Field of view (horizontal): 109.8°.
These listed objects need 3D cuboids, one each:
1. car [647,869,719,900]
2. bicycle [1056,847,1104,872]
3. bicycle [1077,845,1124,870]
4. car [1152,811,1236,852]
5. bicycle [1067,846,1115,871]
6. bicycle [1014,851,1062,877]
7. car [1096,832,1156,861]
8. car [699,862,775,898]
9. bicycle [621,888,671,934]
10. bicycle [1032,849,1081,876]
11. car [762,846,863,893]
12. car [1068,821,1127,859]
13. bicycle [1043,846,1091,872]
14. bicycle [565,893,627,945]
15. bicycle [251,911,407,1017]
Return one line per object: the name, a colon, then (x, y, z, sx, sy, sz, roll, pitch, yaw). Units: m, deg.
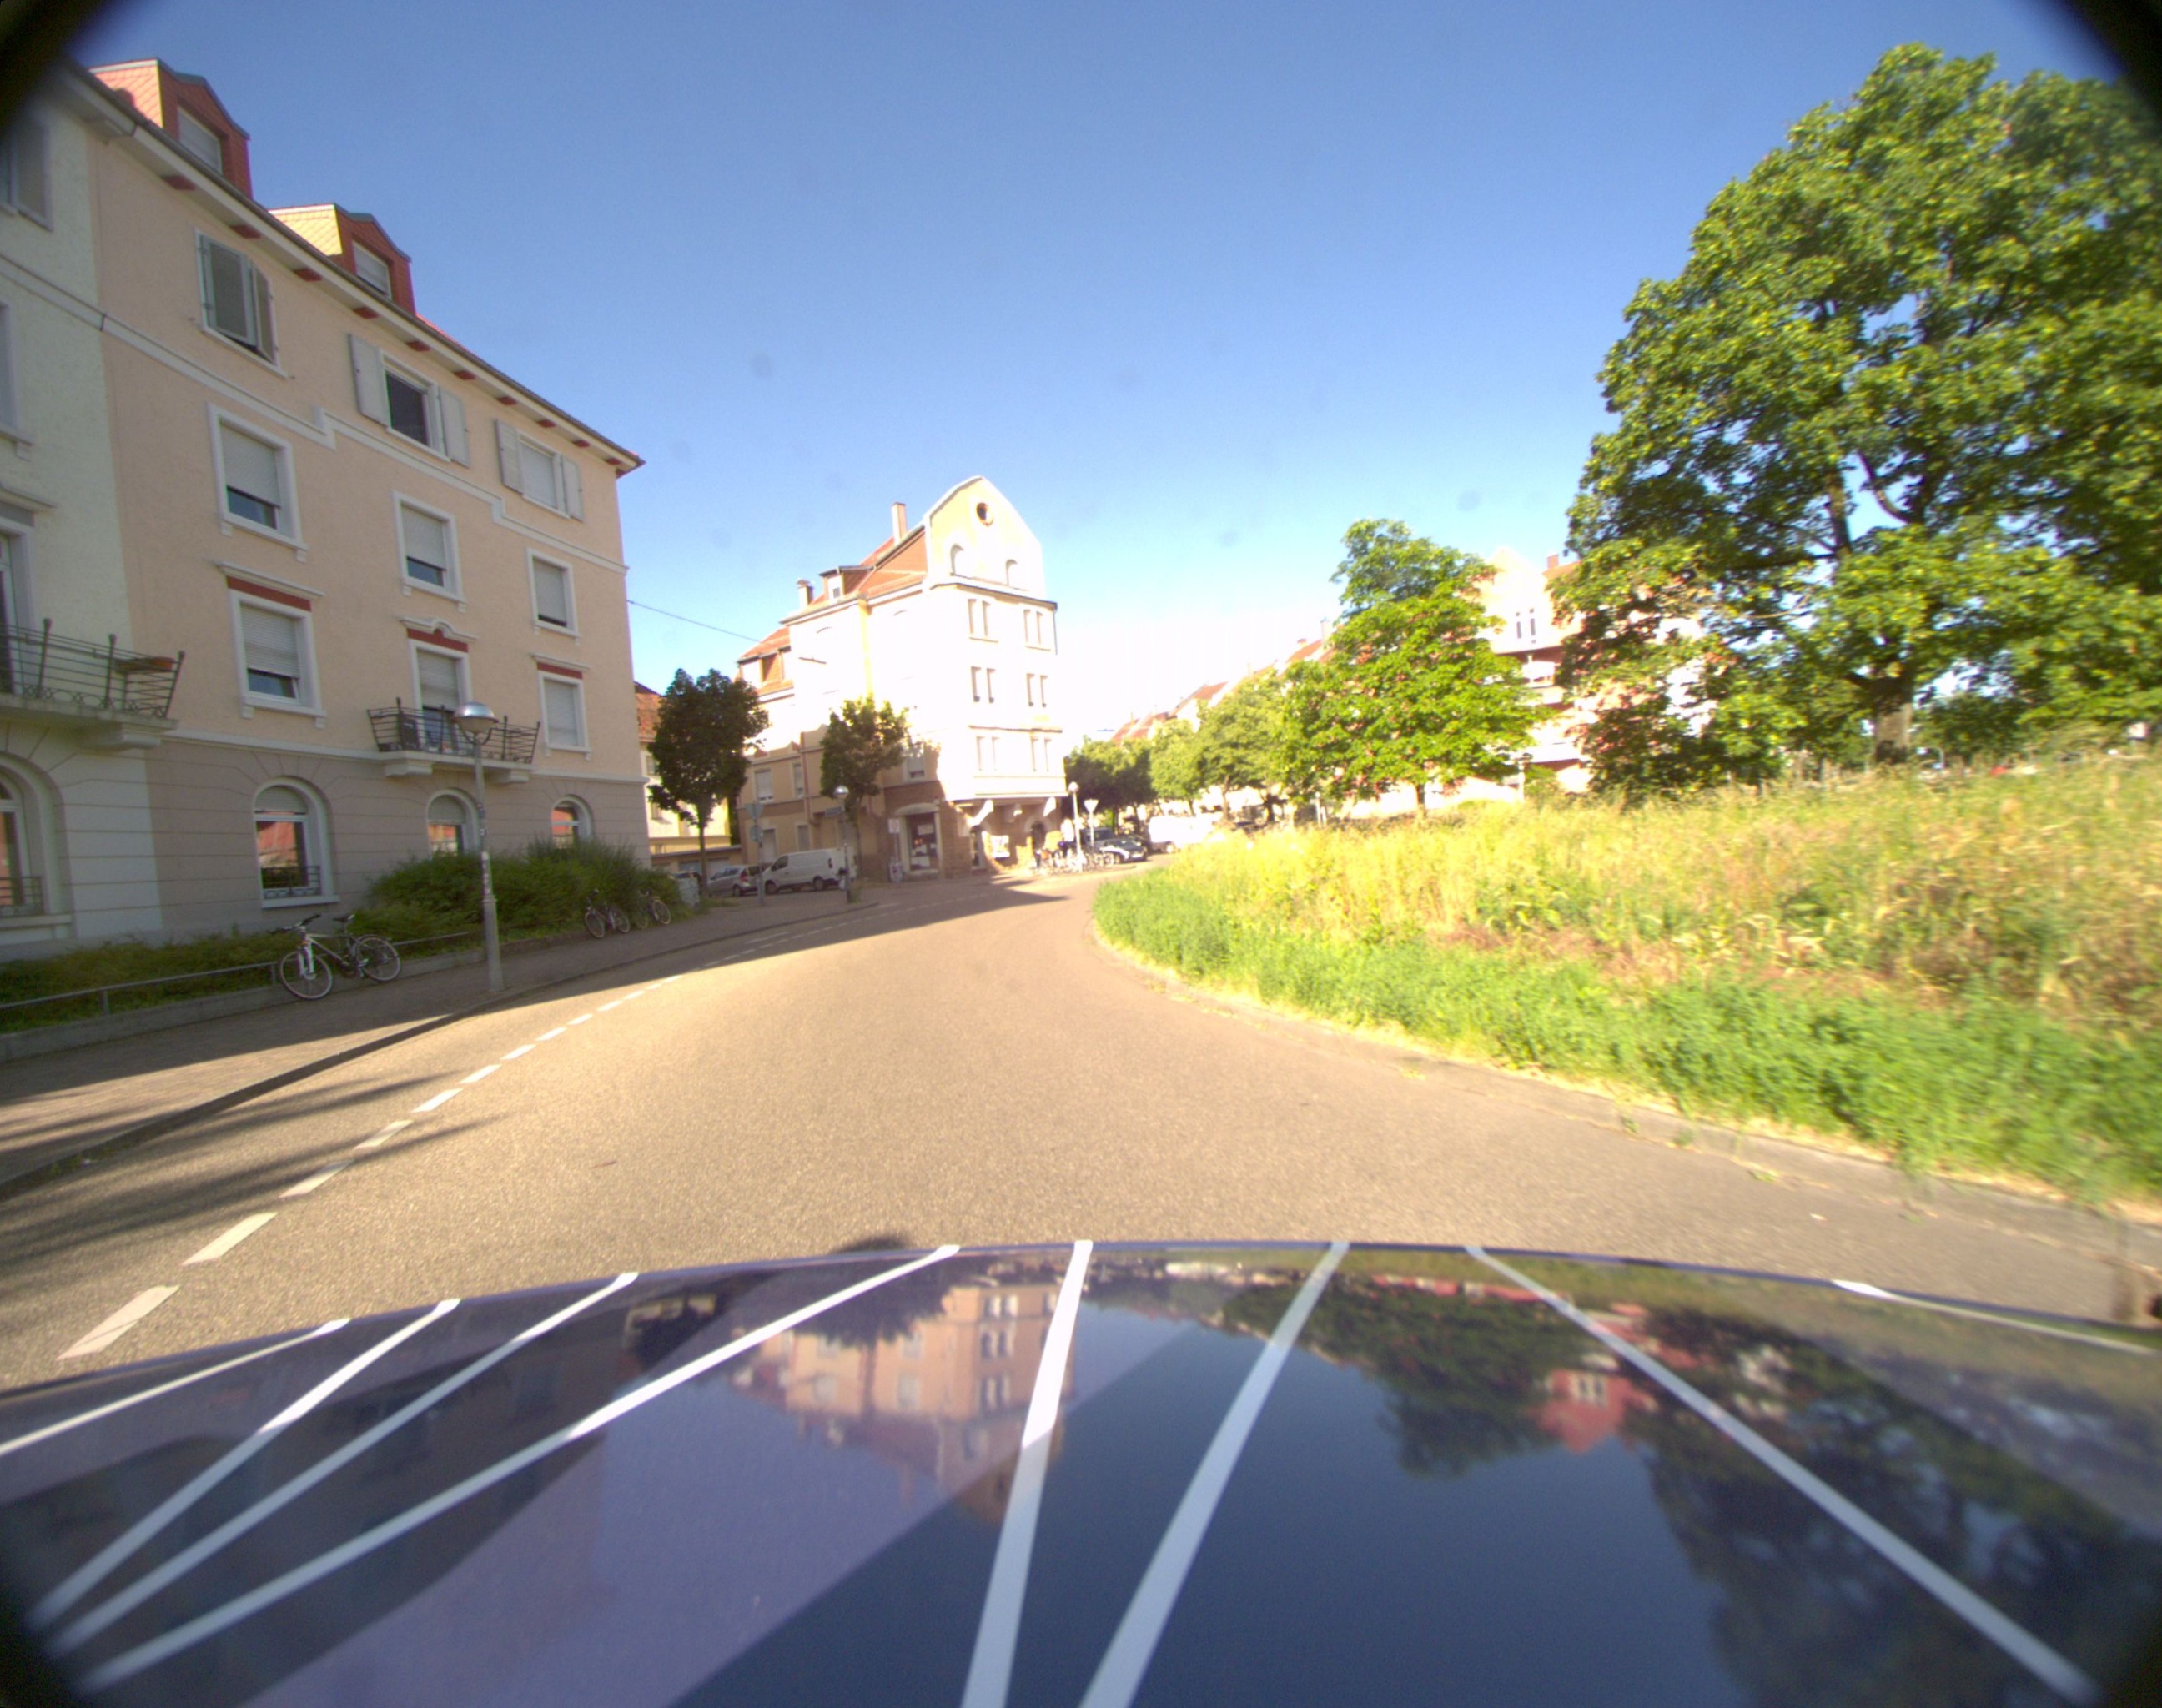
car: (-21.635, 1.667, 41.306, 3.536, 1.367, 1.691, -4, 2, 30)
bicycle: (-0.080, 0.260, 34.244, 0.655, 1.046, 2.360, -6, 2, -43)
bicycle: (0.886, 0.186, 35.324, 0.655, 1.046, 2.360, -6, 2, -43)
car: (7.741, -1.554, 51.986, 5.181, 2.349, 2.040, -4, 2, 25)
bicycle: (0.455, 0.217, 34.704, 0.655, 1.046, 2.360, -6, 2, -43)
bicycle: (-1.869, 0.427, 32.680, 0.655, 1.046, 2.360, -2, -1, -43)
car: (2.464, -0.398, 42.721, 2.001, 1.435, 3.994, -5, 1, -17)
car: (-17.786, 1.327, 39.232, 3.536, 1.567, 1.691, -4, 2, 30)
bicycle: (-10.713, 1.388, 18.743, 0.377, 0.989, 1.391, -4, 1, -2)
bicycle: (-1.079, 0.383, 33.195, 0.655, 1.046, 2.360, -6, 2, -43)
car: (-13.055, 0.746, 36.964, 4.439, 1.930, 1.900, -4, 2, 25)
car: (0.938, -0.819, 47.740, 2.255, 2.107, 4.794, -5, 1, -15)
bicycle: (-0.646, 0.232, 33.764, 0.655, 1.009, 2.360, -5, 1, -43)
bicycle: (-10.661, 1.406, 16.741, 0.377, 0.989, 1.391, -4, 1, 1)
bicycle: (-10.111, 1.440, 10.302, 0.435, 1.148, 1.669, -3, 1, -3)
